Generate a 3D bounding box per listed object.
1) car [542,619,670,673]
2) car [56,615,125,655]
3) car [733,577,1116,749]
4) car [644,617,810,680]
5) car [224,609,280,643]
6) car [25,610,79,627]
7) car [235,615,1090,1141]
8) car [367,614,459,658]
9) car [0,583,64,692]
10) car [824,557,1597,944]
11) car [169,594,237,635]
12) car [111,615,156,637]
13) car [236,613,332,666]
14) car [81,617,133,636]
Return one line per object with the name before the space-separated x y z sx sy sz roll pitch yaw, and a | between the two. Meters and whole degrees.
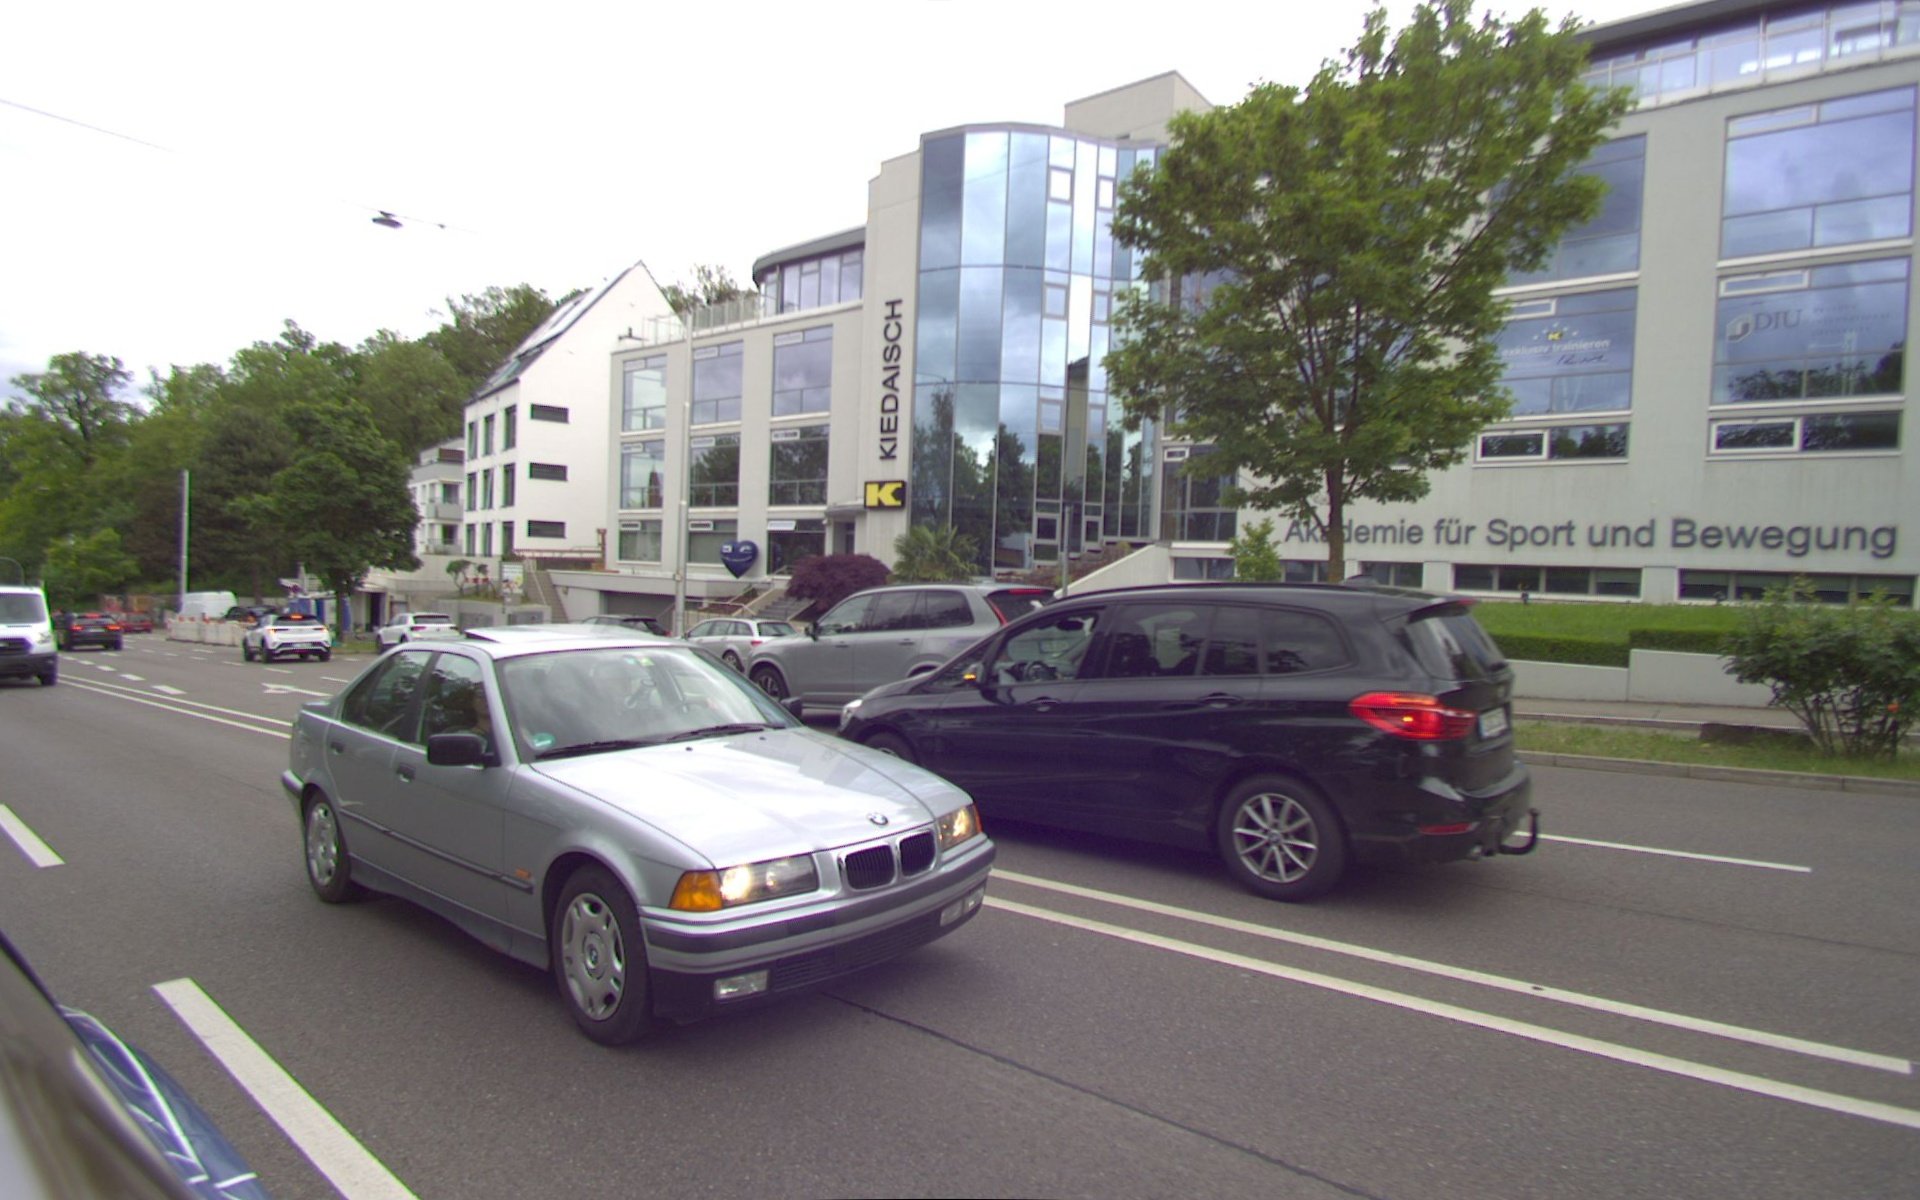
car | -10.123 1.253 28.833 4.088 1.439 1.655 -1 -1 41
car | -39.216 1.527 45.606 4.762 1.716 1.827 -1 -2 43
car | -0.624 0.660 12.405 4.869 1.721 1.745 -1 -1 42
car | -5.887 1.190 25.333 4.413 1.439 1.657 -1 -4 39
car | -38.611 1.378 55.188 1.786 1.764 4.253 -1 0 -45
car | -72.456 1.440 80.755 3.260 1.294 1.562 -1 0 11
car | -1.777 0.785 4.835 4.615 1.393 1.618 -1 0 39
car | -19.804 1.275 36.547 4.238 1.515 1.650 -1 -2 43
car | -21.814 0.823 22.426 6.262 2.190 1.974 -2 -1 40
car | 1.259 0.655 6.307 4.364 1.604 1.745 -1 -1 41
car | -49.415 0.957 66.002 6.526 2.545 1.974 -1 0 39
car | -55.633 1.721 68.102 3.289 1.454 1.564 -1 0 36
car | -21.649 1.222 32.364 3.923 1.553 1.780 -1 -1 44
car | -71.082 2.191 84.398 1.561 1.454 3.295 -1 0 0
